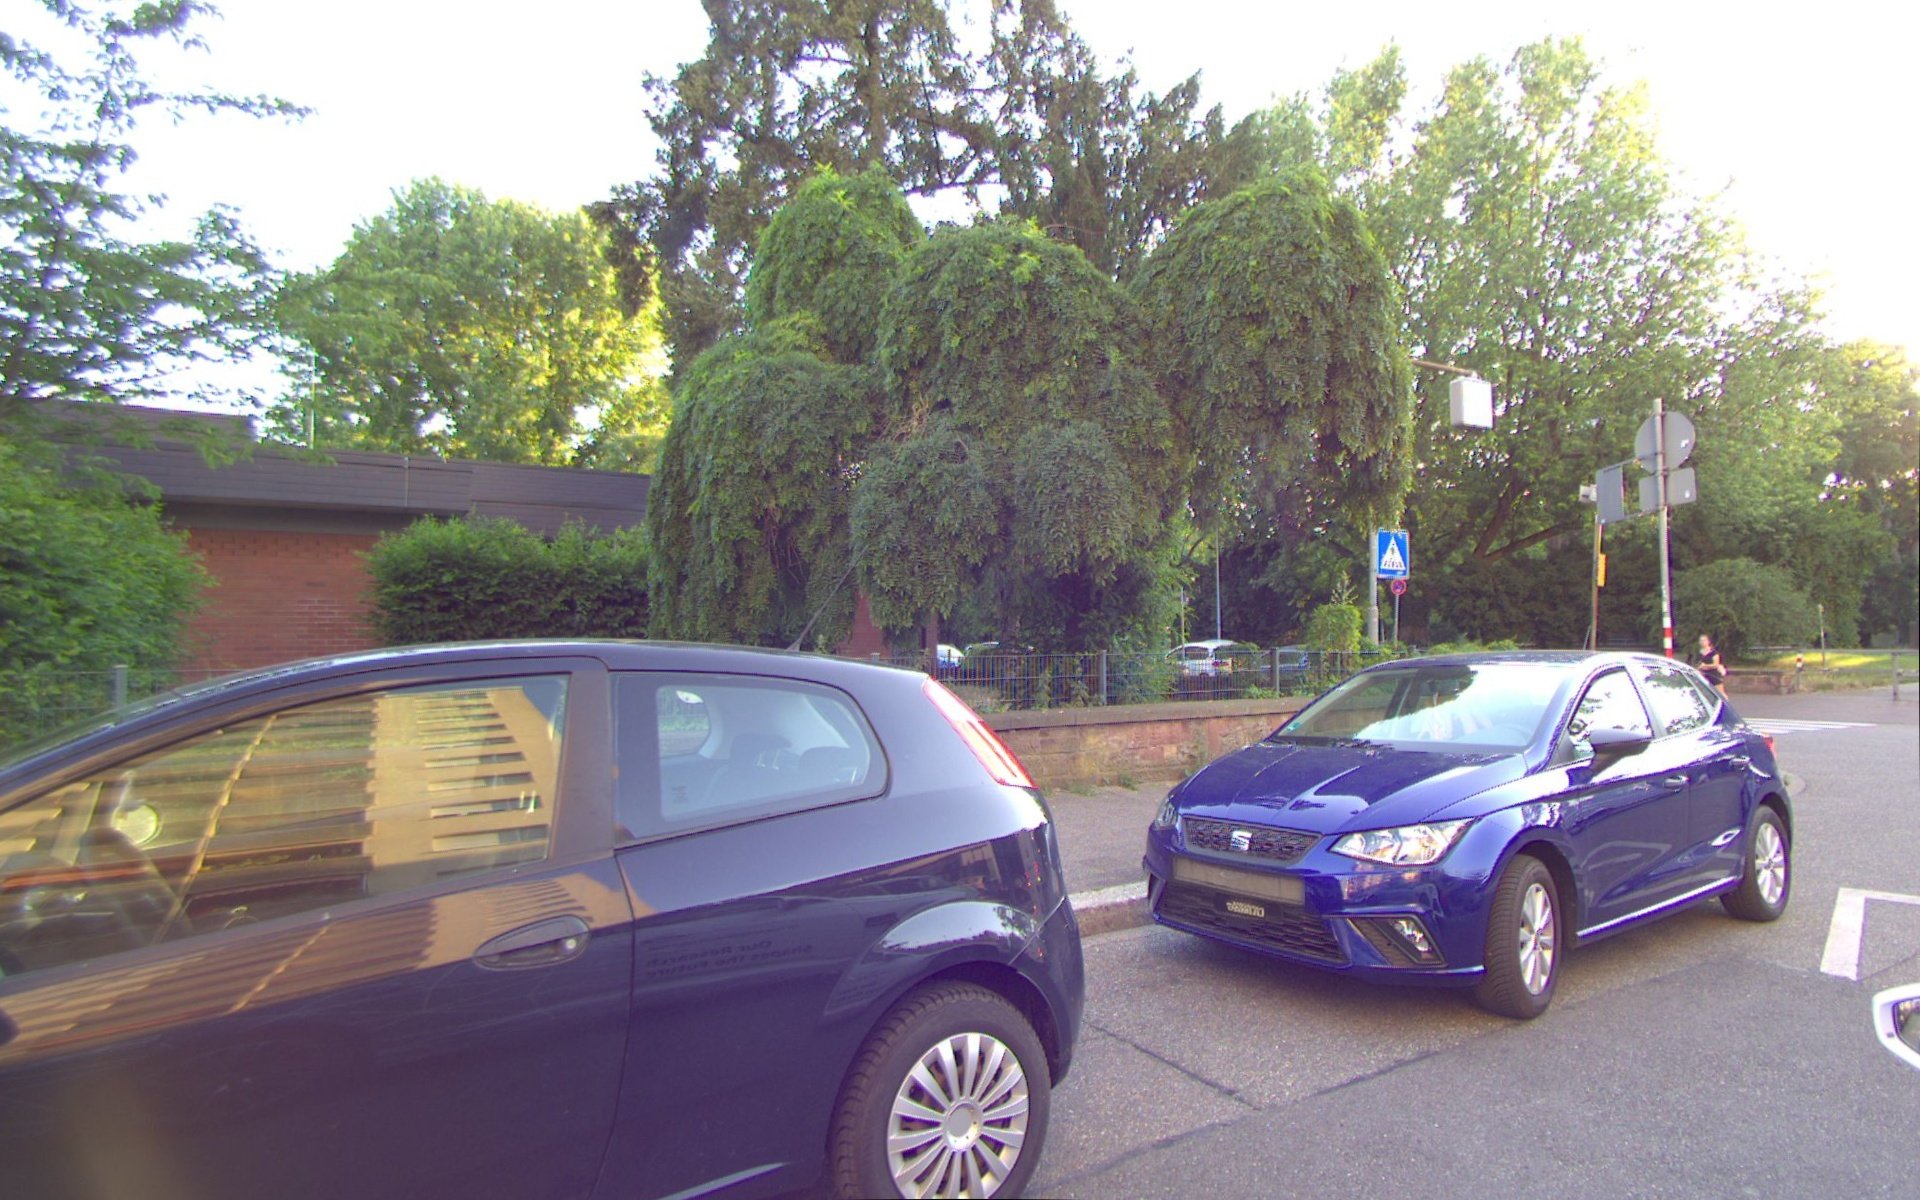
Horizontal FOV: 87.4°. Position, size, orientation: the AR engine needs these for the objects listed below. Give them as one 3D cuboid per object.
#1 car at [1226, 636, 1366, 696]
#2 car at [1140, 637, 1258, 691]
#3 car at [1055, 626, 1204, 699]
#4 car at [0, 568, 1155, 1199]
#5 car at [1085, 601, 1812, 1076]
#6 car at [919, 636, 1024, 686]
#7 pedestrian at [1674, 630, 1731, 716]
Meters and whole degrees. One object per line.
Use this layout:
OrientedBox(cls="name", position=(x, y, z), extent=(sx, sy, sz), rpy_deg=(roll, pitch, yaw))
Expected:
OrientedBox(cls="car", position=(10.136, 1.979, 30.597), extent=(1.798, 1.511, 3.843), rpy_deg=(-6, 0, -24))
OrientedBox(cls="car", position=(8.248, 2.208, 34.969), extent=(1.800, 1.583, 3.856), rpy_deg=(-6, 0, -27))
OrientedBox(cls="car", position=(4.558, 1.738, 27.618), extent=(1.801, 1.821, 4.211), rpy_deg=(4, -5, -28))
OrientedBox(cls="car", position=(-1.467, 0.806, 2.440), extent=(3.659, 1.587, 1.723), rpy_deg=(1, -4, -34))
OrientedBox(cls="car", position=(2.638, 0.879, 5.185), extent=(3.752, 1.587, 1.723), rpy_deg=(1, -4, -35))
OrientedBox(cls="car", position=(0.335, 2.145, 34.826), extent=(1.801, 1.564, 4.211), rpy_deg=(4, -5, -28))
OrientedBox(cls="pedestrian", position=(14.850, 1.444, 20.102), extent=(0.660, 1.671, 0.648), rpy_deg=(0, 0, 1))
